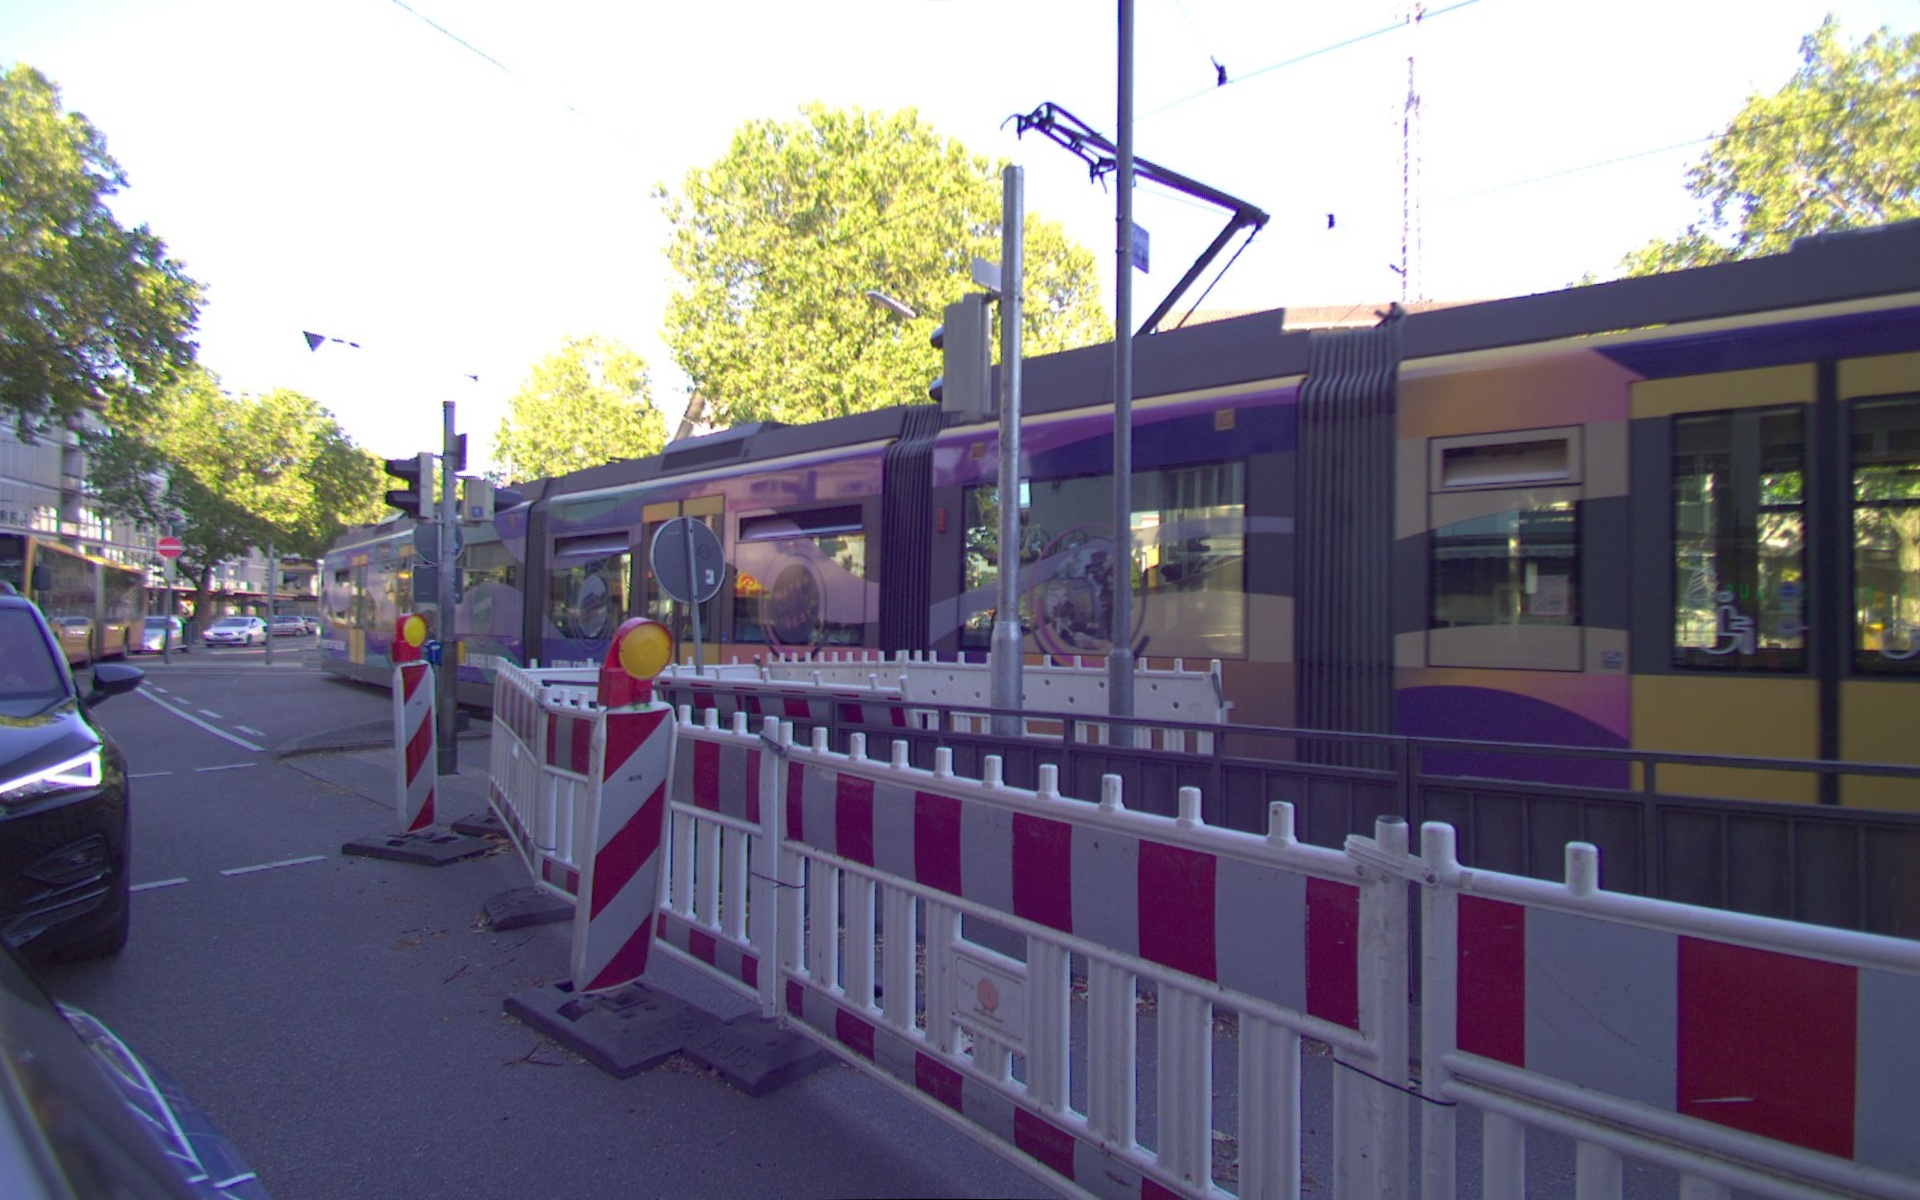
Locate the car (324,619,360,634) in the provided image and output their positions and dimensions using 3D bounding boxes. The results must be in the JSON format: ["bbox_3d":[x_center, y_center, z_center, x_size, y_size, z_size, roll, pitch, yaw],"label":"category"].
[{"bbox_3d":[-58.162,2.487,95.254,1.201,1.399,2.592,0,-1,43],"label":"car"}]

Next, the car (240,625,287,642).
[{"bbox_3d":[-50.909,2.426,74.014,1.198,1.226,2.599,0,-1,34],"label":"car"}]

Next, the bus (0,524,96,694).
[{"bbox_3d":[-21.107,0.232,22.016,2.710,3.127,9.519,1,-2,-36],"label":"bus"}]

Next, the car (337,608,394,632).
[{"bbox_3d":[-61.632,2.055,104.983,1.873,2.394,4.817,0,-1,30],"label":"car"}]

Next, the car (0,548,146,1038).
[{"bbox_3d":[-5.168,0.690,4.589,4.300,1.670,1.823,-1,-1,45],"label":"car"}]

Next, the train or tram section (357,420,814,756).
[{"bbox_3d":[-6.327,-0.049,15.385,2.836,3.514,10.350,1,-1,-42],"label":"train or tram section"}]

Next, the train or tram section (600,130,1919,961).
[{"bbox_3d":[1.155,-0.165,8.402,10.325,3.514,2.808,-1,-1,39],"label":"train or tram section"}]

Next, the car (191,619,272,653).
[{"bbox_3d":[-35.740,1.739,49.806,1.923,1.562,4.771,1,-1,-19],"label":"car"}]

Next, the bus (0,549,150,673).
[{"bbox_3d":[-26.474,0.366,29.971,2.708,3.127,9.524,1,-2,-32],"label":"bus"}]

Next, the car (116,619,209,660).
[{"bbox_3d":[-31.859,1.541,40.581,1.880,1.486,4.433,1,-1,-24],"label":"car"}]

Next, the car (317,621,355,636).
[{"bbox_3d":[-54.937,2.511,89.159,1.201,1.290,2.592,0,-1,43],"label":"car"}]

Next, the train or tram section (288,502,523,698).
[{"bbox_3d":[-12.992,0.089,23.063,2.799,3.514,10.356,1,-1,-39],"label":"train or tram section"}]

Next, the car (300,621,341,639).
[{"bbox_3d":[-52.371,2.439,82.905,1.201,1.484,2.592,0,-1,43],"label":"car"}]

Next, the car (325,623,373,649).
[{"bbox_3d":[-37.758,2.198,62.635,1.923,1.486,4.772,1,-1,-24],"label":"car"}]

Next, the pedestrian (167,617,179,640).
[{"bbox_3d":[-55.954,2.026,71.960,0.508,1.669,0.572,1,-1,-22],"label":"pedestrian"}]

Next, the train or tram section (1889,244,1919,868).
[{"bbox_3d":[9.249,-0.275,2.200,10.319,3.514,2.791,-1,-1,37],"label":"train or tram section"}]
